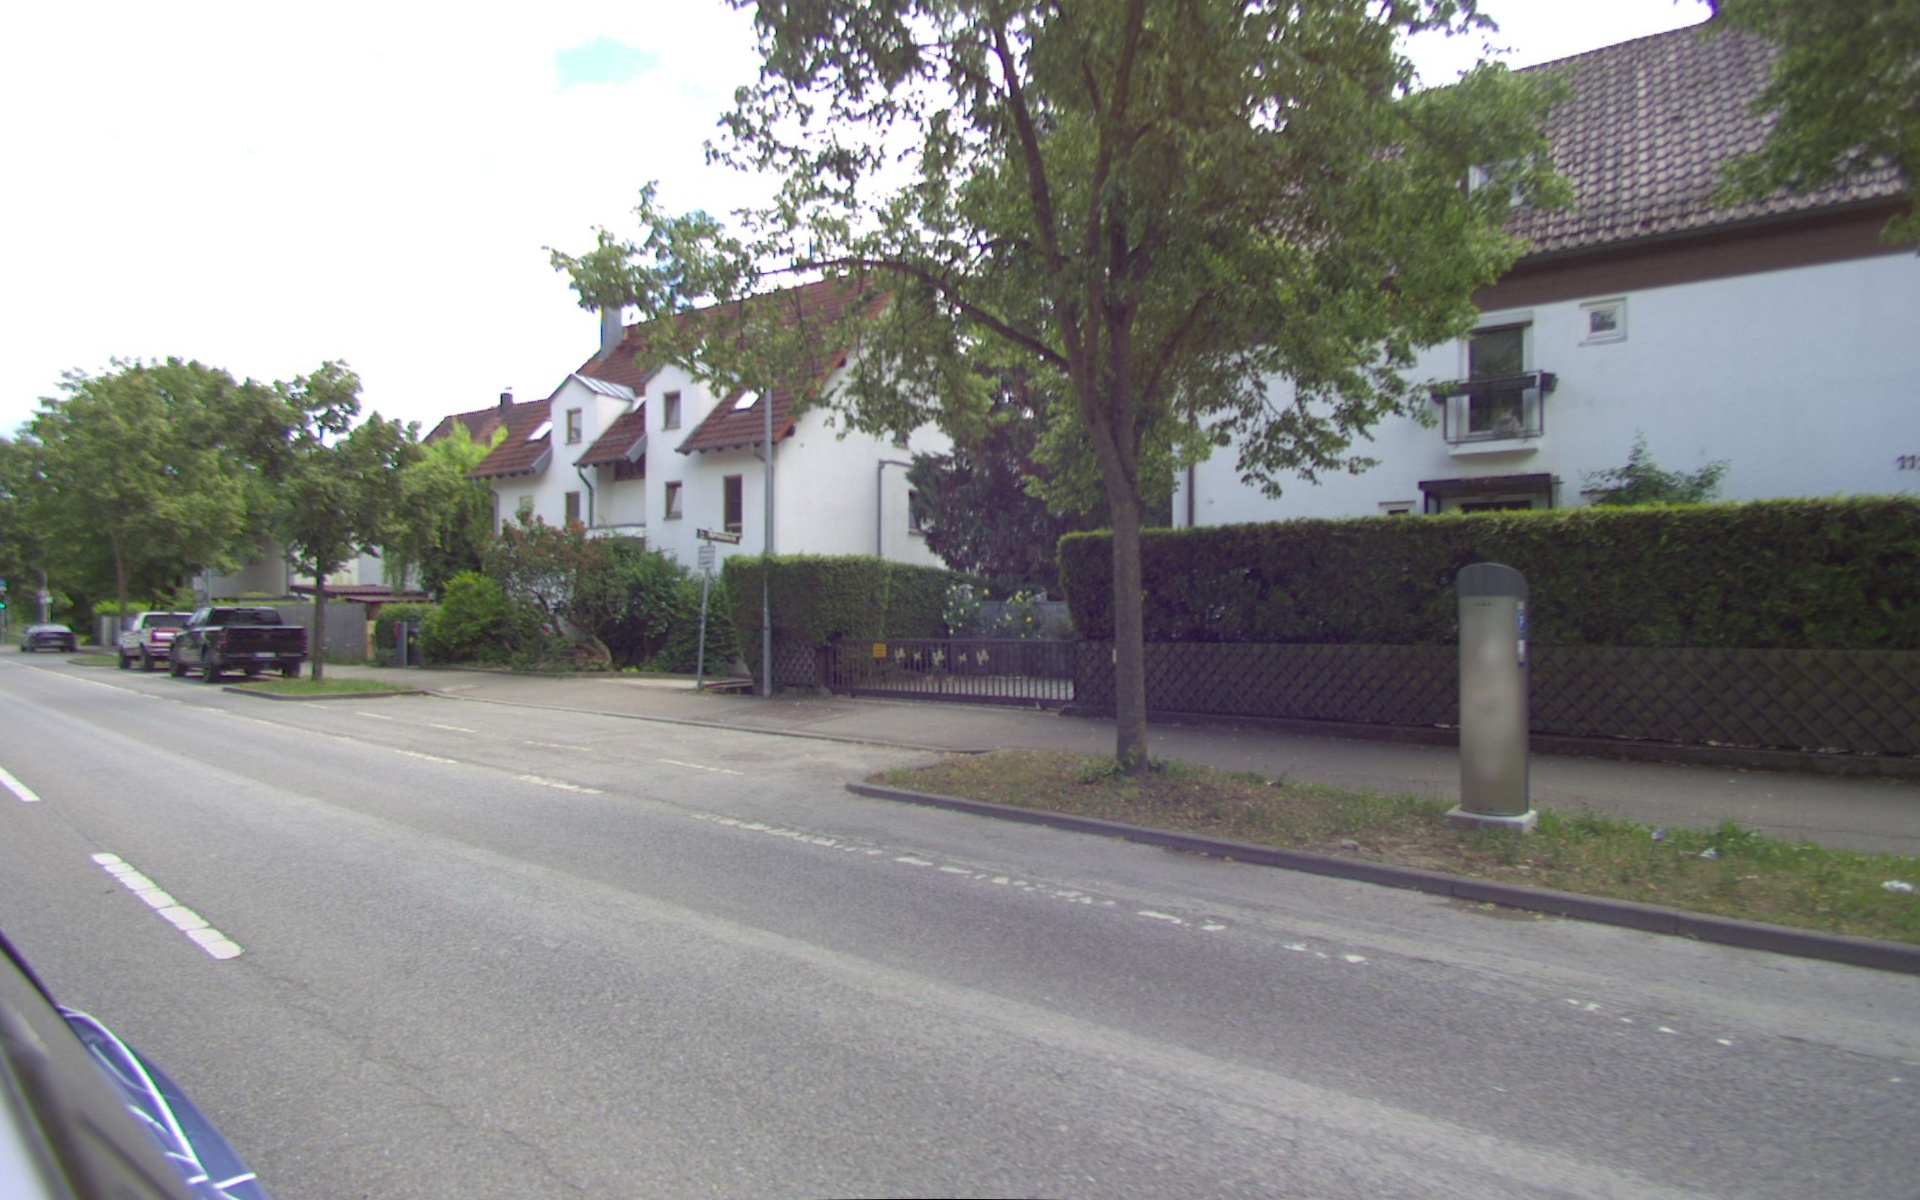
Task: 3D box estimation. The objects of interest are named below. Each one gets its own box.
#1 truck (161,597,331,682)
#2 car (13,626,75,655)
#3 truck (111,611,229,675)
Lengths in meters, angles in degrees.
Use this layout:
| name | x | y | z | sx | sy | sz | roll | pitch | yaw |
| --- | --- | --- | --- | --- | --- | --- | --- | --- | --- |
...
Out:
| name | x | y | z | sx | sy | sz | roll | pitch | yaw |
| --- | --- | --- | --- | --- | --- | --- | --- | --- | --- |
| truck | -19.300 | 1.004 | 27.225 | 5.992 | 2.059 | 2.398 | -1 | -1 | 41 |
| car | -46.482 | 2.020 | 51.328 | 4.925 | 1.419 | 1.727 | -1 | -3 | 41 |
| truck | -25.256 | 1.328 | 32.266 | 5.663 | 1.882 | 1.946 | -1 | -3 | 42 |
